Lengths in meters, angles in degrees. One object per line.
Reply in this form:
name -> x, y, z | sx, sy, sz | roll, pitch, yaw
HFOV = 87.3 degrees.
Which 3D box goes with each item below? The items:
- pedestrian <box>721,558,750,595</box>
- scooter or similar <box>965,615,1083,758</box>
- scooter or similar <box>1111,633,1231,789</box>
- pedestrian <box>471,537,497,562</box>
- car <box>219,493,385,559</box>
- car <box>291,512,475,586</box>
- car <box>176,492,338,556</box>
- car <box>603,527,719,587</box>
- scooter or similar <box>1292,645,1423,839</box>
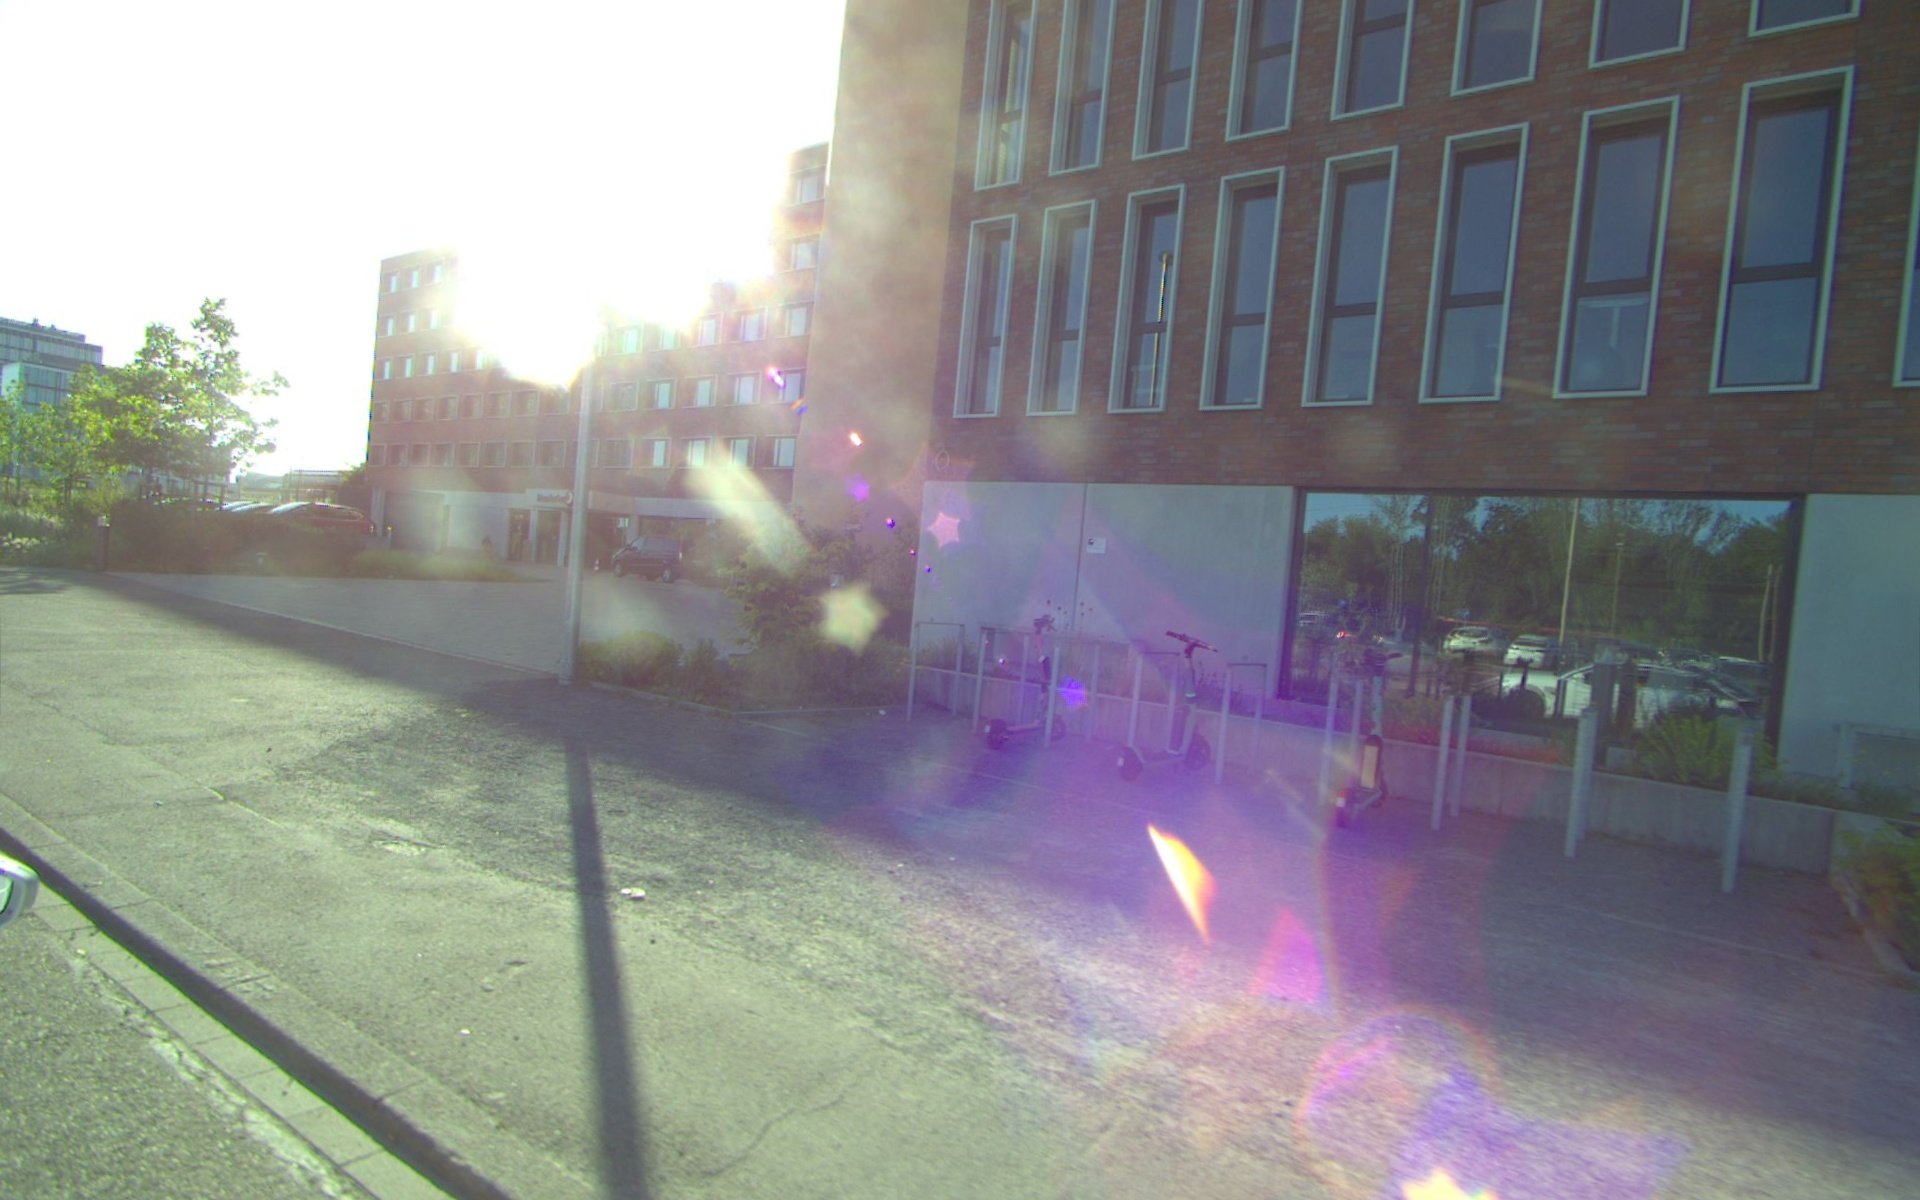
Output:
pedestrian -> -7.425, -0.776, 33.280 | 0.746, 1.151, 0.813 | 4, 2, -21
scooter or similar -> 0.611, 0.777, 9.248 | 0.335, 1.210, 1.241 | 7, 2, 38
scooter or similar -> 1.771, 0.893, 8.346 | 0.360, 1.171, 1.241 | 7, 2, 38
pedestrian -> -28.621, -3.048, 60.473 | 0.994, 1.327, 0.929 | 7, 1, 34
car -> -21.805, -2.420, 33.492 | 1.823, 1.600, 4.182 | 7, 0, 37
car -> -16.668, -1.449, 29.256 | 1.823, 1.600, 4.182 | 7, 0, 37
car -> -24.320, -2.599, 34.925 | 1.823, 1.600, 4.182 | 7, 0, 37
car -> -12.460, -1.806, 41.807 | 4.718, 1.960, 1.971 | 7, 1, 35
scooter or similar -> 2.936, 0.987, 7.366 | 0.417, 1.261, 1.339 | 7, 2, 38
